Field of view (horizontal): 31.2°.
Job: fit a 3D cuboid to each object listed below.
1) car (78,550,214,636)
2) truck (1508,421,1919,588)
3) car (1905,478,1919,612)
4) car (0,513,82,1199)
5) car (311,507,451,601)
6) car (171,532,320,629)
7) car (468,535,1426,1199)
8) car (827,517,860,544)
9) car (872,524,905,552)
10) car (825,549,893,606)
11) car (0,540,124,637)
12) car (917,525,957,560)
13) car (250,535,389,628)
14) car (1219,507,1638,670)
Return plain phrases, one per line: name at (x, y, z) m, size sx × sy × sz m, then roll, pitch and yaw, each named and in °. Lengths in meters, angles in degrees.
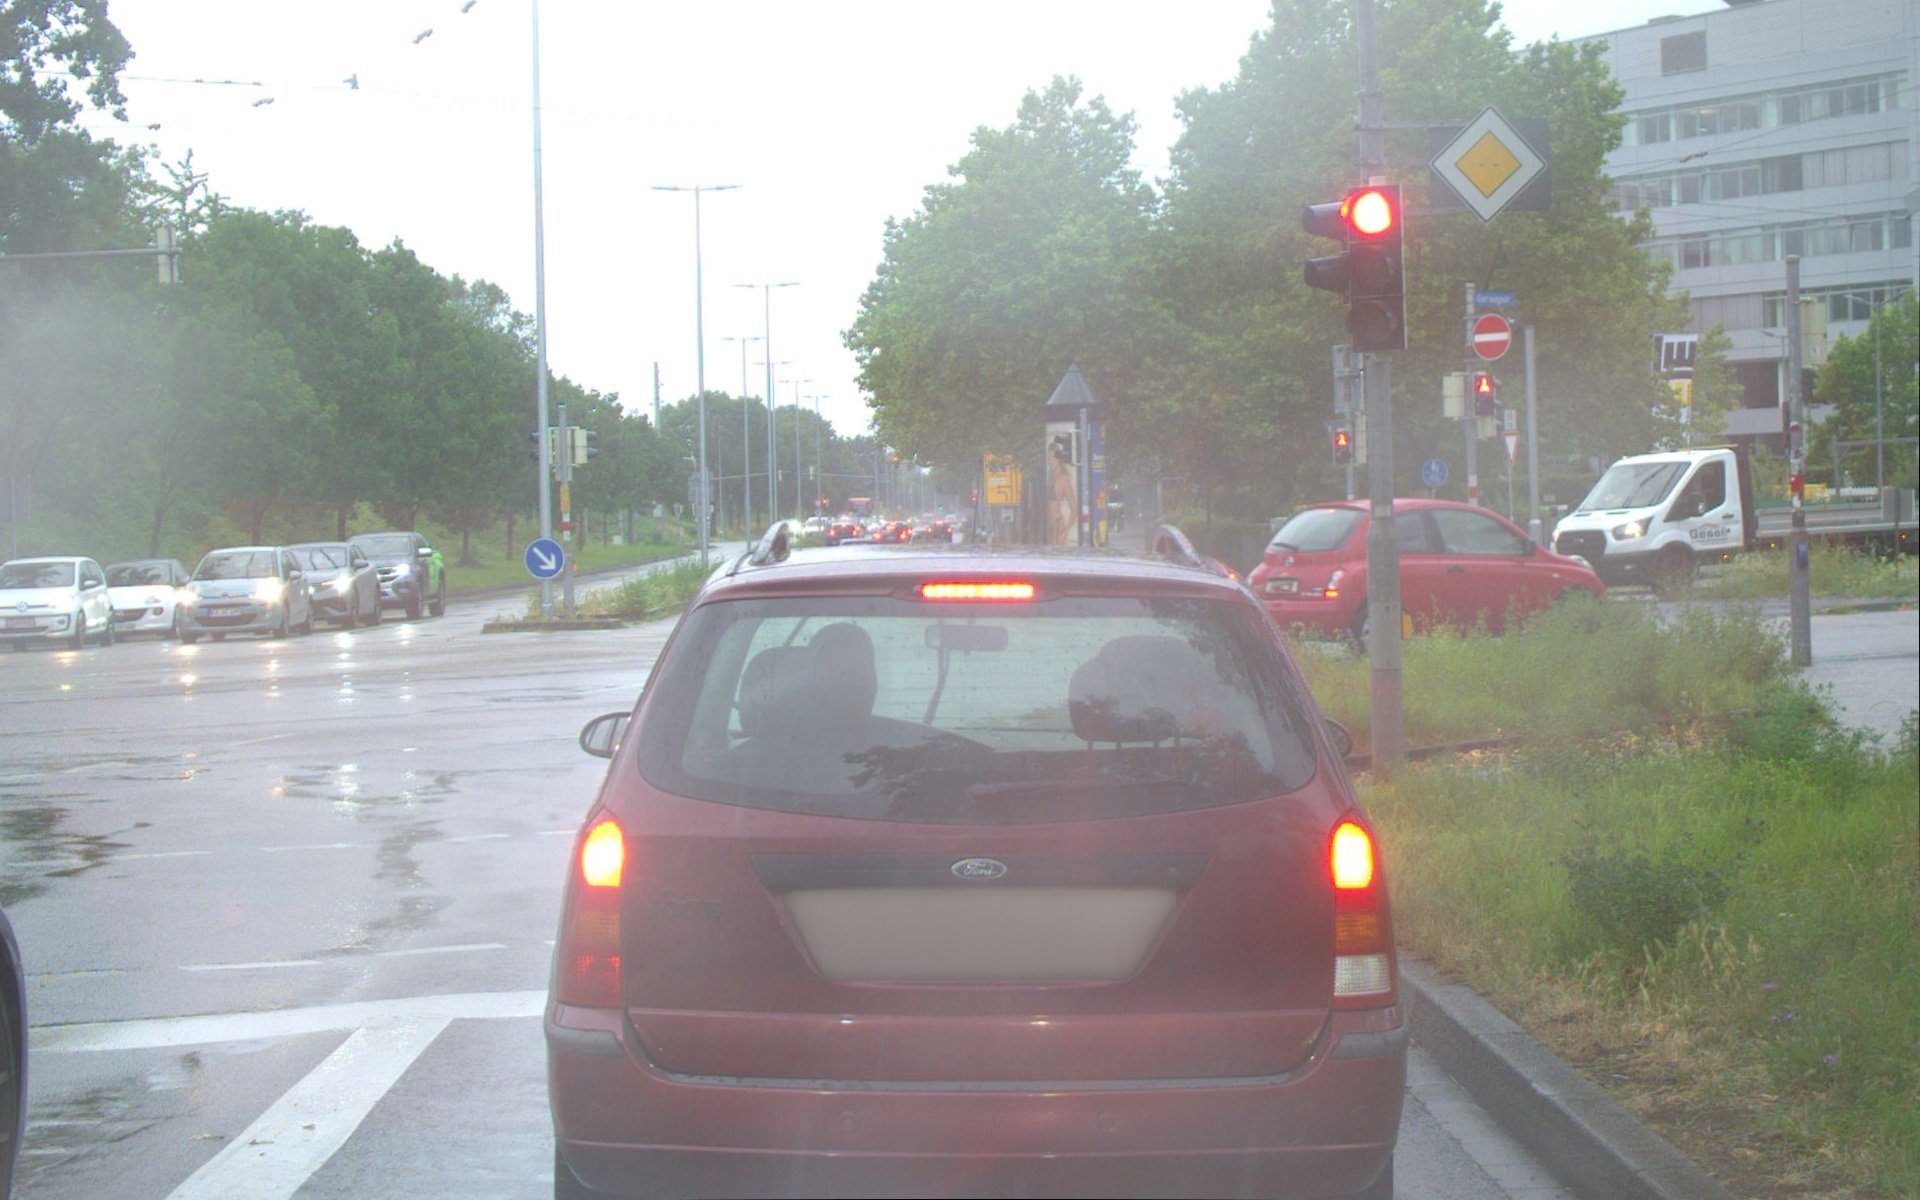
car at (-14.511, -0.149, 61.449) m, size 1.590 × 1.399 × 3.823 m, roll -2°, pitch 1°, yaw -2°
truck at (11.619, -1.461, 51.633) m, size 6.846 × 2.357 × 2.482 m, roll -2°, pitch 1°, yaw -35°
car at (13.078, -0.672, 38.752) m, size 4.814 × 1.485 × 1.927 m, roll -2°, pitch 1°, yaw -33°
car at (-2.690, 0.647, 4.863) m, size 1.769 × 1.568 × 4.822 m, roll 1°, pitch 1°, yaw -2°
car at (-11.975, -0.989, 71.424) m, size 2.065 × 1.813 × 5.542 m, roll -2°, pitch 1°, yaw -2°
car at (-11.635, -0.342, 56.164) m, size 1.638 × 1.468 × 3.965 m, roll -2°, pitch 1°, yaw -1°
car at (-0.074, 0.603, 7.814) m, size 1.642 × 1.460 × 3.733 m, roll 1°, pitch 1°, yaw -2°
car at (-6.853, -4.113, 202.610) m, size 1.698 × 1.522 × 3.846 m, roll -1°, pitch 1°, yaw 1°
car at (-4.047, -3.474, 193.778) m, size 1.698 × 1.522 × 3.846 m, roll -1°, pitch 1°, yaw 1°
car at (-3.245, -0.732, 110.094) m, size 1.993 × 1.784 × 4.001 m, roll 1°, pitch 1°, yaw -4°
car at (-14.634, -0.198, 55.121) m, size 1.638 × 1.447 × 3.788 m, roll -2°, pitch 1°, yaw -3°
car at (-1.032, -2.588, 154.832) m, size 1.671 × 1.522 × 3.846 m, roll -1°, pitch 1°, yaw 1°
car at (-11.735, -0.350, 63.252) m, size 1.762 × 1.580 × 4.814 m, roll -2°, pitch 1°, yaw -2°
car at (4.523, -0.143, 33.065) m, size 3.804 × 1.485 × 1.678 m, roll -1°, pitch 1°, yaw -32°
